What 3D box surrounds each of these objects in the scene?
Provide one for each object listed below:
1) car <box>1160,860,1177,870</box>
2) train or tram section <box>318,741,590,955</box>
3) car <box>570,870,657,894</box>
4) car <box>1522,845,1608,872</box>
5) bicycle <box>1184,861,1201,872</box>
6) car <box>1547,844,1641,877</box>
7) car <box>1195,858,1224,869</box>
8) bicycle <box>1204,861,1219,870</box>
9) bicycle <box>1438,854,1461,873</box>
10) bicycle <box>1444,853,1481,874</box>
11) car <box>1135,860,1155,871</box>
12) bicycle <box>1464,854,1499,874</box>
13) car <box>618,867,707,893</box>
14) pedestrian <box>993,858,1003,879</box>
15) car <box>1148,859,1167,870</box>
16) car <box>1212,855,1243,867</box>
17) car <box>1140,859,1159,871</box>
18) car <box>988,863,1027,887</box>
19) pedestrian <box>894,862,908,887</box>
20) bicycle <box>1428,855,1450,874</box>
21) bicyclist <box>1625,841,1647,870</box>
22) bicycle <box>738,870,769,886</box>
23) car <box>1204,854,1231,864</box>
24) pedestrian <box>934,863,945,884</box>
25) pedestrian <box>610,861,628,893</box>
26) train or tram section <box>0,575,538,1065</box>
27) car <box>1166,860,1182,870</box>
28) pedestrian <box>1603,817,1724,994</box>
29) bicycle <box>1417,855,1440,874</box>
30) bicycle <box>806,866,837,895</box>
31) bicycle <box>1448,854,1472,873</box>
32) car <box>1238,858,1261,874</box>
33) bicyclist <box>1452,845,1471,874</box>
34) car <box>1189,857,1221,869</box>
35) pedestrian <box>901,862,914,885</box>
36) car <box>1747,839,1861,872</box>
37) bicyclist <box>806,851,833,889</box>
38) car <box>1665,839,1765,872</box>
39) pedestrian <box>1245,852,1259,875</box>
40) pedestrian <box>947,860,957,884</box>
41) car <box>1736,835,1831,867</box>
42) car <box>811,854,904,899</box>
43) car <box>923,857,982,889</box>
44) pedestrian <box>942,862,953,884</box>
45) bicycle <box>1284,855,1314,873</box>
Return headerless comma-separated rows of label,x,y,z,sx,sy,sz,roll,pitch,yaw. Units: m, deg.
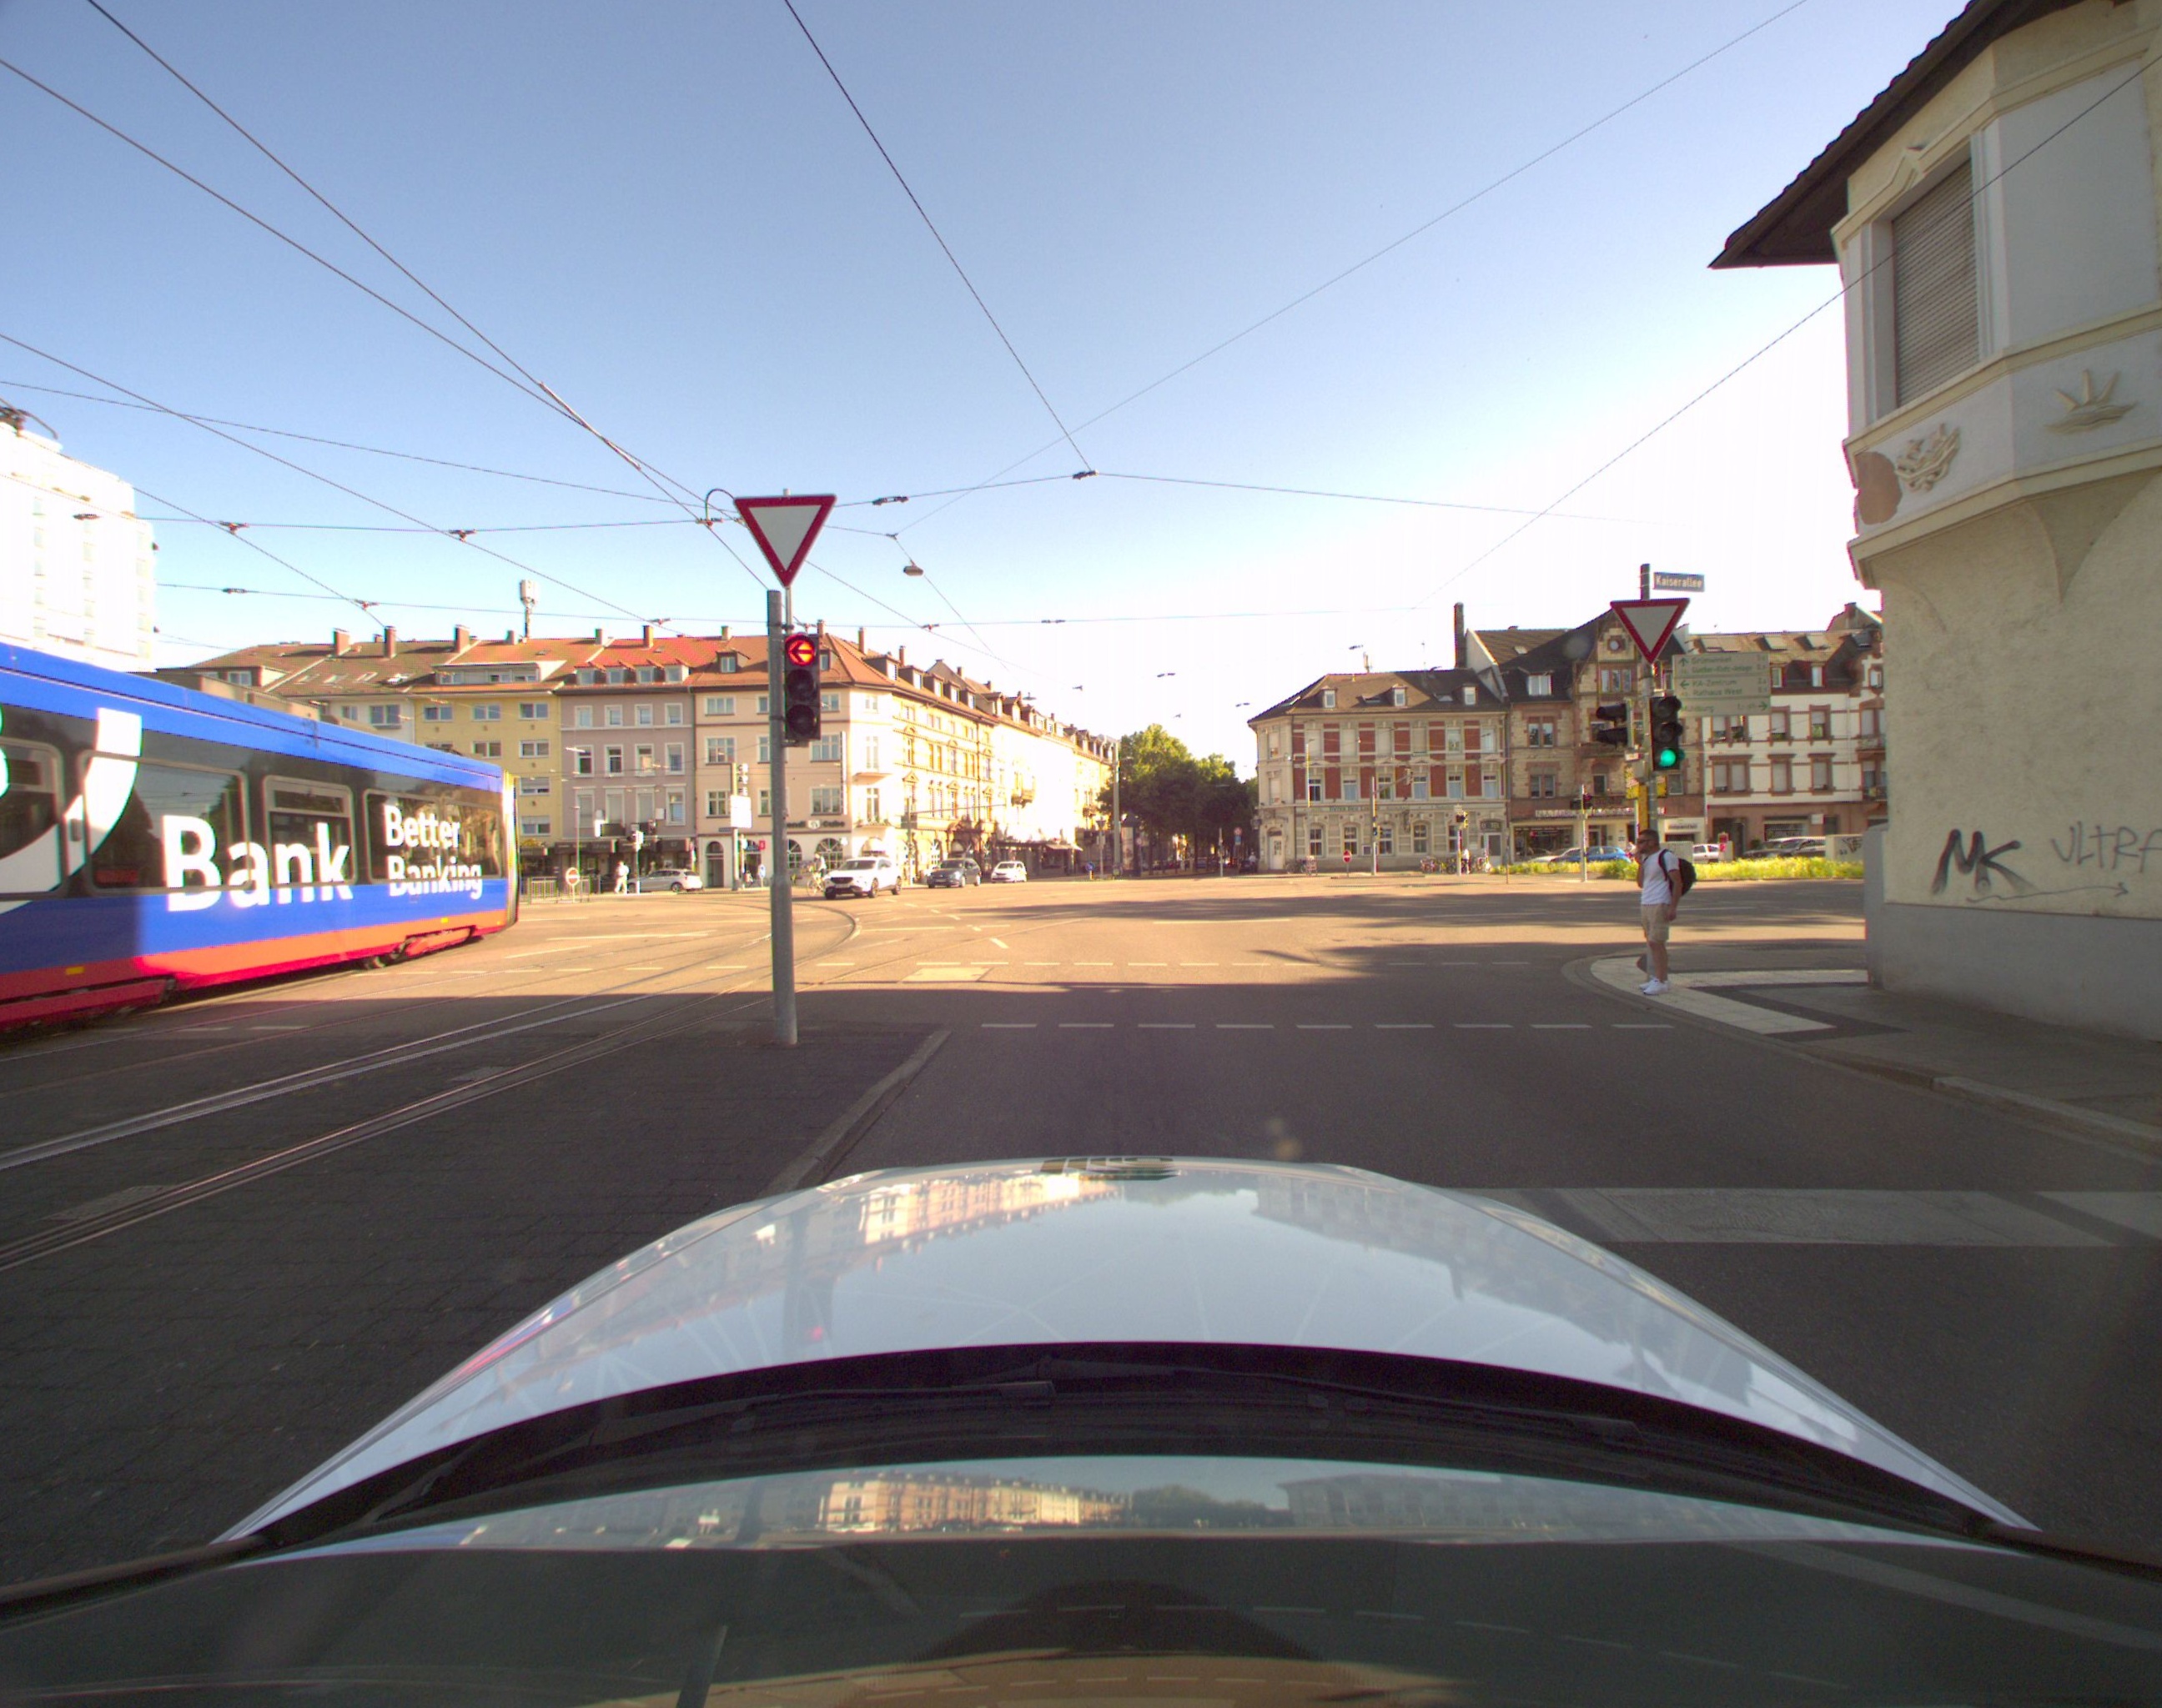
car,14.225,1.783,131.660,1.978,1.497,4.051,-2,0,16
train or tram section,-14.235,-0.056,19.807,3.072,3.613,12.006,-1,0,-27
car,-30.699,1.835,53.544,4.626,1.440,1.743,-1,-1,-1
car,28.513,0.262,48.038,3.973,1.412,1.846,-1,0,1
bicycle,11.335,1.287,82.660,0.586,1.067,1.928,-1,0,-34
car,28.321,0.340,45.045,3.973,1.668,1.955,-1,0,1
car,20.202,1.450,128.025,3.949,1.545,2.012,-2,0,30
bicycle,15.874,1.362,99.054,0.586,1.067,1.928,-1,0,-34
bicycle,23.850,0.625,52.776,0.674,1.191,1.969,-1,0,3
bicycle,23.644,0.586,50.523,1.952,1.191,0.602,-2,0,4
car,8.934,1.559,112.853,1.978,1.497,4.051,-2,0,16
bicycle,25.748,0.641,52.324,1.961,1.191,0.677,-1,0,-10
car,-24.646,1.527,48.082,4.197,1.355,1.999,-1,0,-2
pedestrian,-7.619,1.356,74.628,0.676,1.908,0.636,-2,0,18
car,11.519,1.527,122.520,1.978,1.497,4.051,-2,0,16
car,20.891,1.012,116.233,3.948,1.545,2.013,-2,0,32
car,9.905,1.588,117.319,1.978,1.497,4.051,-2,0,16
car,-4.959,1.384,55.486,1.707,1.497,3.594,-2,0,10
pedestrian,-12.472,1.415,56.416,0.670,1.642,0.581,-2,0,15
bicycle,23.202,0.658,52.791,0.674,1.191,1.969,-1,0,3
bicyclist,34.585,0.108,50.724,0.901,1.764,0.601,-1,0,-3
bicycle,-23.018,1.696,57.258,1.940,1.067,0.582,-1,0,-6
car,22.441,0.767,133.817,3.949,1.545,2.012,-2,0,30
pedestrian,-11.166,1.504,64.306,0.622,1.642,0.540,-2,0,15
pedestrian,-23.825,1.183,42.009,0.729,1.627,0.665,-1,0,-28
train or tram section,-10.191,-0.197,8.760,3.059,3.613,12.443,-1,0,-14
car,15.559,1.885,136.363,1.978,1.497,4.051,-2,0,16
pedestrian,6.126,0.521,8.580,0.691,1.740,0.668,-4,-1,-28
bicycle,22.500,0.648,52.782,0.674,1.191,1.969,-1,0,3
bicycle,-11.067,1.131,34.812,0.482,1.166,2.059,-1,0,6
bicycle,24.524,0.628,52.752,0.674,1.191,1.969,-1,0,3
car,17.017,1.152,82.182,1.978,1.497,4.051,-2,0,16
bicyclist,23.589,0.343,50.523,0.869,1.764,0.602,-1,0,4
car,17.530,1.279,115.442,3.949,1.545,2.012,-2,0,30
pedestrian,-12.284,1.373,57.665,0.626,1.642,0.554,-2,0,15
car,39.636,0.068,44.718,4.456,1.668,1.955,-1,0,1
bicyclist,-11.072,0.654,34.492,0.711,1.559,0.988,-1,0,5
car,34.809,0.094,44.780,3.973,1.668,1.955,-1,0,1
pedestrian,12.634,0.711,60.062,0.714,1.669,0.937,-1,0,-6
pedestrian,-10.307,1.442,65.136,0.575,1.836,0.636,-2,0,18
car,45.238,-0.187,52.514,4.388,1.965,1.955,-1,0,1
car,-8.235,0.791,30.446,1.984,1.497,4.352,-2,0,4
car,-6.424,0.908,41.139,1.765,1.497,4.581,-2,0,6
pedestrian,-10.503,1.489,64.057,0.546,1.642,0.636,-2,0,20
bicycle,15.221,0.703,56.972,1.950,1.191,0.547,-2,0,6
